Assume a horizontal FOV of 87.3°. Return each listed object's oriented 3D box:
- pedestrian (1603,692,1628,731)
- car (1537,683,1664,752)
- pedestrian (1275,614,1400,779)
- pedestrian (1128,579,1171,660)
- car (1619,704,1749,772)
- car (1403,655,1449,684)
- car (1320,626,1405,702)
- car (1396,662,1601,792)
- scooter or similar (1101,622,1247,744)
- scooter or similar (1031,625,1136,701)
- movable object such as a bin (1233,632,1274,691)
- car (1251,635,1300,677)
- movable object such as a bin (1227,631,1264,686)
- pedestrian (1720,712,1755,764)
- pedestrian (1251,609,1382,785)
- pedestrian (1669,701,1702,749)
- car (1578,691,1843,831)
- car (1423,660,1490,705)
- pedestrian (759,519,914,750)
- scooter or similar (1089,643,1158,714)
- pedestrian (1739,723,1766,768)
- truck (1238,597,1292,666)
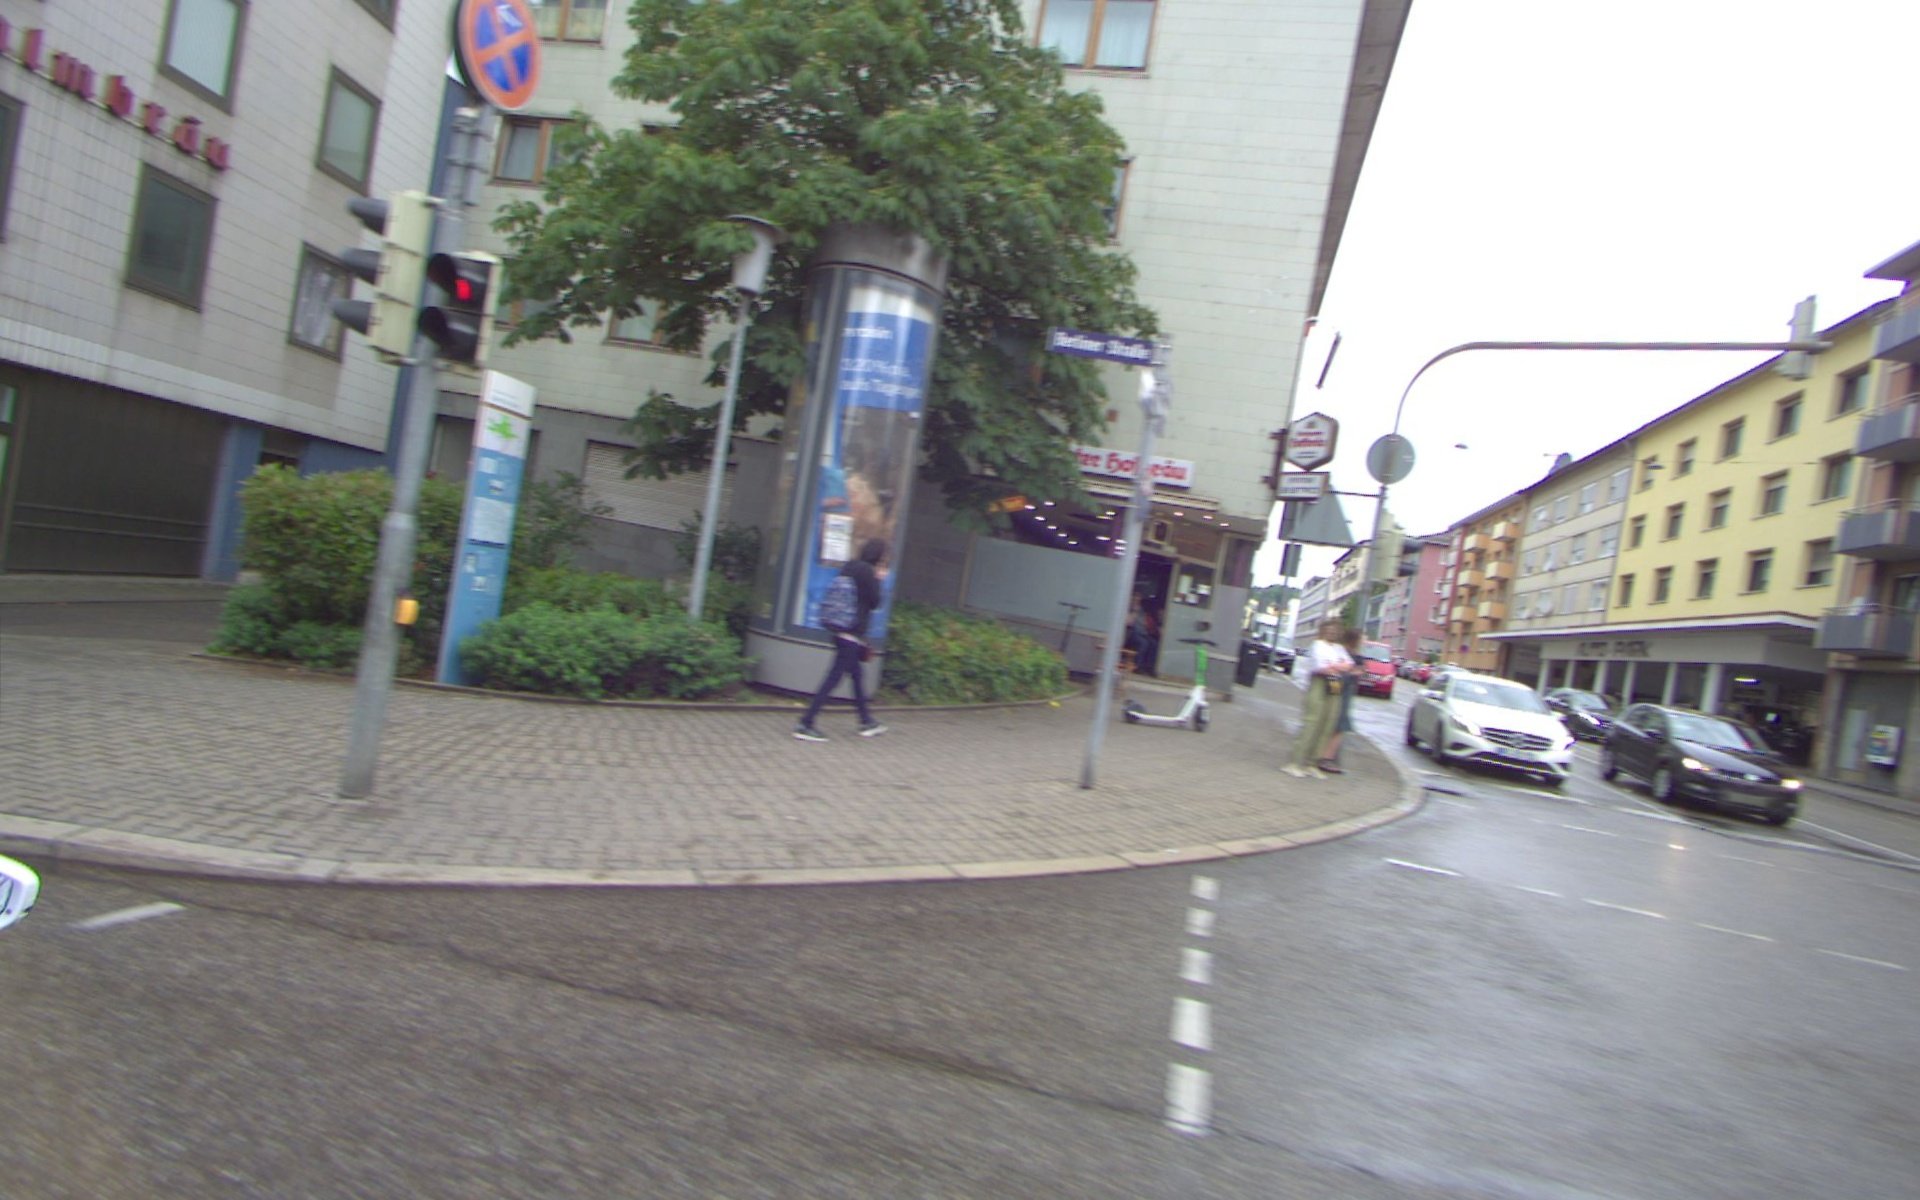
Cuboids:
[{"bbox_3d":[29.031,4.930,44.576,0.512,1.577,0.568,11,4,15],"label":"pedestrian"},{"bbox_3d":[18.781,3.395,29.696,1.815,1.506,4.004,9,-1,15],"label":"car"},{"bbox_3d":[4.257,1.080,11.391,0.701,1.668,0.754,10,4,-22],"label":"pedestrian"},{"bbox_3d":[3.543,0.375,18.815,0.511,1.415,0.579,11,0,11],"label":"pedestrian"},{"bbox_3d":[22.122,4.168,30.920,1.634,1.437,4.074,9,0,13],"label":"car"},{"bbox_3d":[33.206,4.962,71.821,1.985,1.579,5.162,11,-2,17],"label":"car"},{"bbox_3d":[14.413,2.318,36.276,2.032,2.267,4.625,9,-1,16],"label":"car"},{"bbox_3d":[8.435,1.900,16.174,1.815,1.530,4.004,9,-1,15],"label":"car"},{"bbox_3d":[2.659,1.030,12.539,1.539,1.203,0.499,12,0,-15],"label":"scooter or similar"},{"bbox_3d":[1.806,0.916,14.864,0.546,0.852,1.449,12,-1,-38],"label":"scooter or similar"},{"bbox_3d":[7.321,1.542,25.124,0.686,1.330,0.783,11,-1,13],"label":"movable object such as a bin"},{"bbox_3d":[14.540,2.596,46.517,1.697,1.621,4.004,9,-1,14],"label":"car"},{"bbox_3d":[7.640,1.572,26.934,0.686,1.330,0.783,11,-1,13],"label":"movable object such as a bin"},{"bbox_3d":[25.966,4.595,33.613,0.472,1.587,0.557,11,4,15],"label":"pedestrian"},{"bbox_3d":[3.774,1.018,10.698,0.701,1.668,0.754,10,4,-22],"label":"pedestrian"},{"bbox_3d":[25.779,4.439,35.766,0.512,1.539,0.568,11,4,15],"label":"pedestrian"},{"bbox_3d":[11.651,2.414,15.998,1.815,1.506,4.004,9,-1,15],"label":"car"},{"bbox_3d":[22.979,3.795,46.665,1.815,1.693,4.004,9,-1,15],"label":"car"},{"bbox_3d":[-1.087,0.296,8.748,0.907,1.841,0.749,7,3,-28],"label":"pedestrian"},{"bbox_3d":[2.334,1.108,14.460,0.452,0.852,1.320,11,-1,-8],"label":"scooter or similar"},{"bbox_3d":[26.358,4.828,33.457,0.358,1.417,0.369,11,4,15],"label":"pedestrian"},{"bbox_3d":[21.277,2.325,70.595,2.764,3.874,8.156,11,-1,16],"label":"truck"}]
